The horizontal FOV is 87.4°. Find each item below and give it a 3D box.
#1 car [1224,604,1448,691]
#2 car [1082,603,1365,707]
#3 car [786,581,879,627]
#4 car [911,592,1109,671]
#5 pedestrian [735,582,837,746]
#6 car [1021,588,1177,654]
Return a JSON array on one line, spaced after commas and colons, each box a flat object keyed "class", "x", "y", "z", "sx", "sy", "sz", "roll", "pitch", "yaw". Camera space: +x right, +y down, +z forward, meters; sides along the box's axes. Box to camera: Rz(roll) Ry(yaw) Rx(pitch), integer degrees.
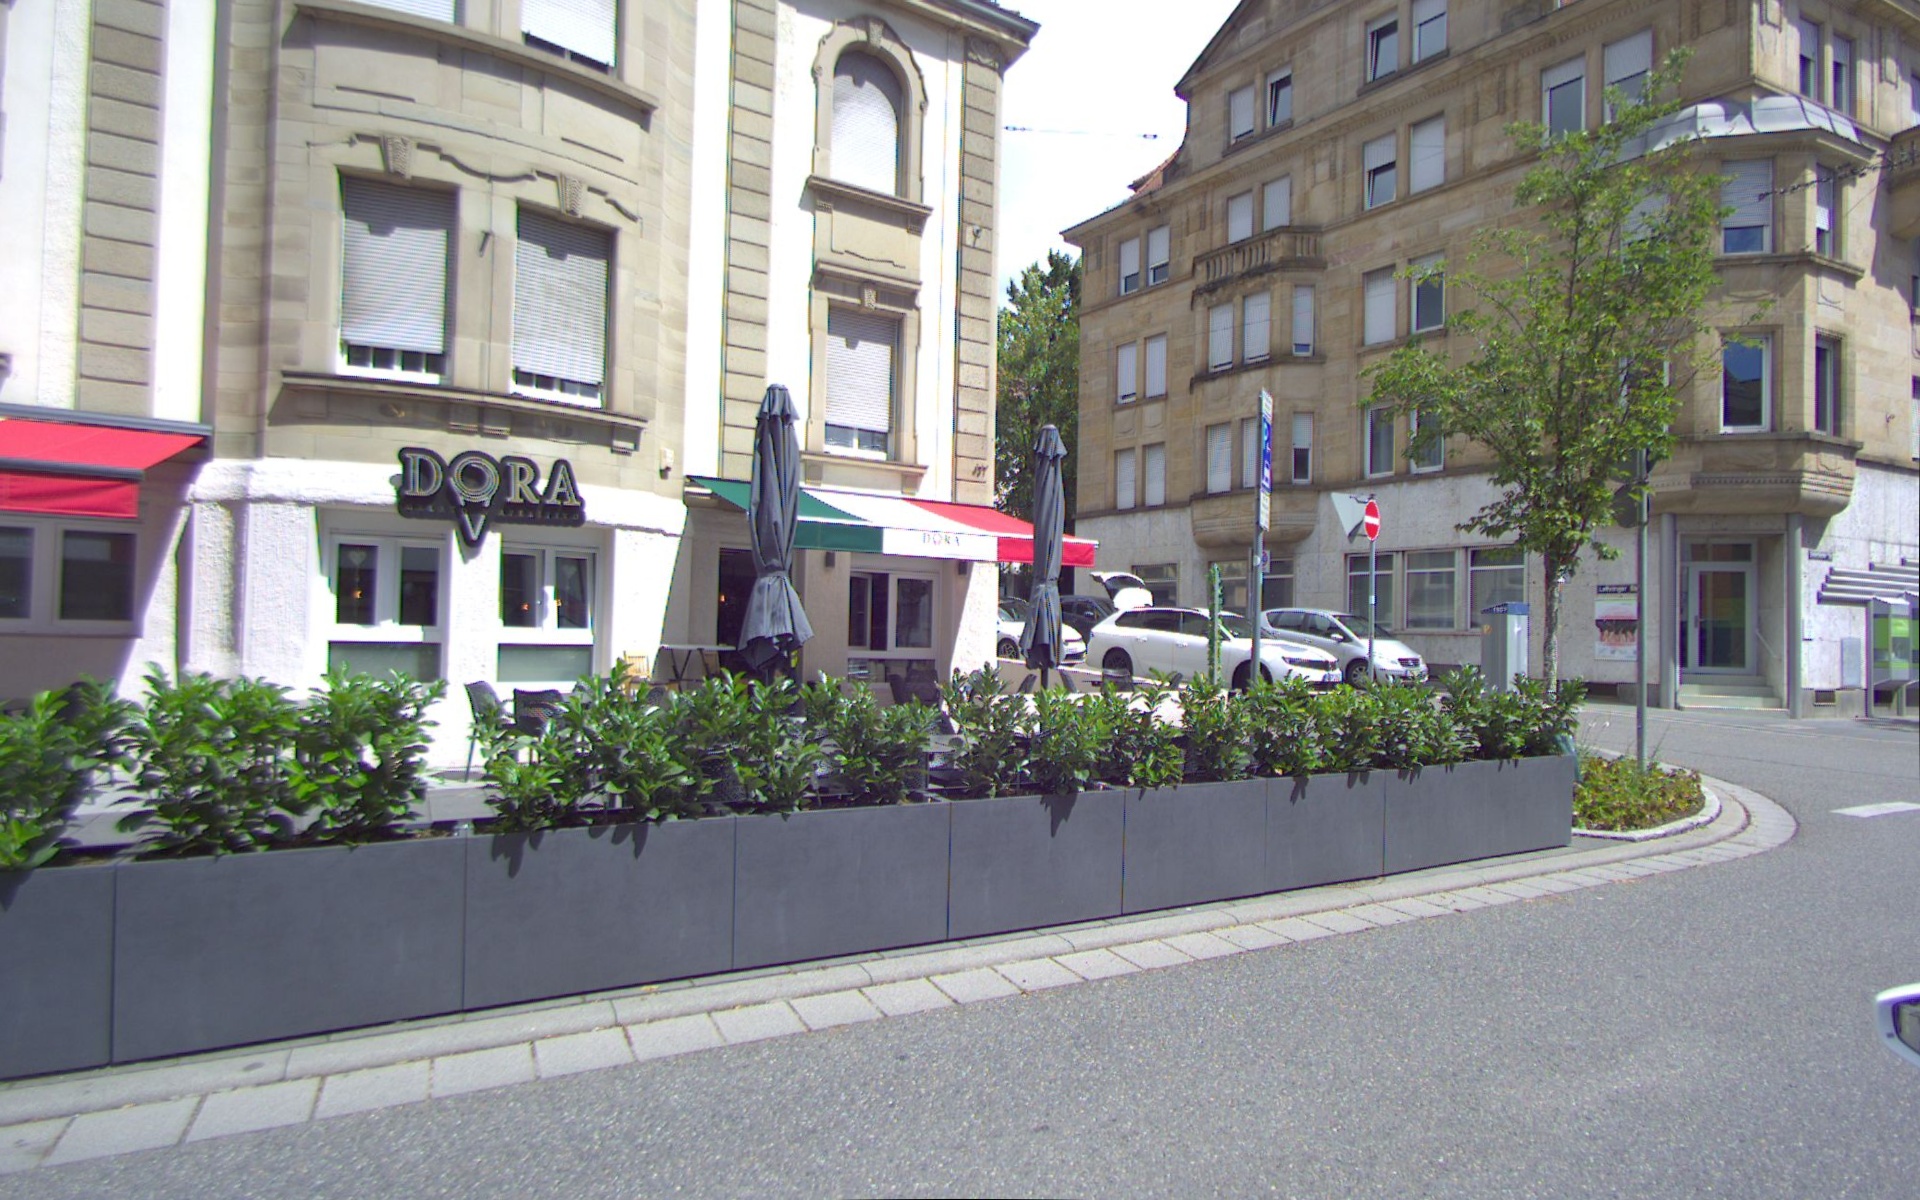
[{"class": "car", "x": 8.079, "y": 0.975, "z": 21.939, "sx": 1.979, "sy": 1.582, "sz": 4.179, "roll": 3, "pitch": 0, "yaw": -33}, {"class": "car", "x": 4.408, "y": 0.869, "z": 17.322, "sx": 1.985, "sy": 1.399, "sz": 4.334, "roll": 3, "pitch": 0, "yaw": -41}, {"class": "car", "x": -5.080, "y": 0.121, "z": 39.538, "sx": 1.979, "sy": 1.582, "sz": 4.179, "roll": 3, "pitch": 0, "yaw": -33}, {"class": "car", "x": 0.973, "y": 0.628, "z": 21.530, "sx": 1.818, "sy": 1.399, "sz": 4.182, "roll": 3, "pitch": 0, "yaw": -41}, {"class": "pedestrian", "x": -1.995, "y": 0.706, "z": 11.475, "sx": 0.794, "sy": 1.780, "sz": 0.803, "roll": 3, "pitch": 0, "yaw": -39}, {"class": "car", "x": 3.747, "y": 0.546, "z": 27.808, "sx": 1.979, "sy": 1.582, "sz": 4.179, "roll": 3, "pitch": 0, "yaw": -33}]
